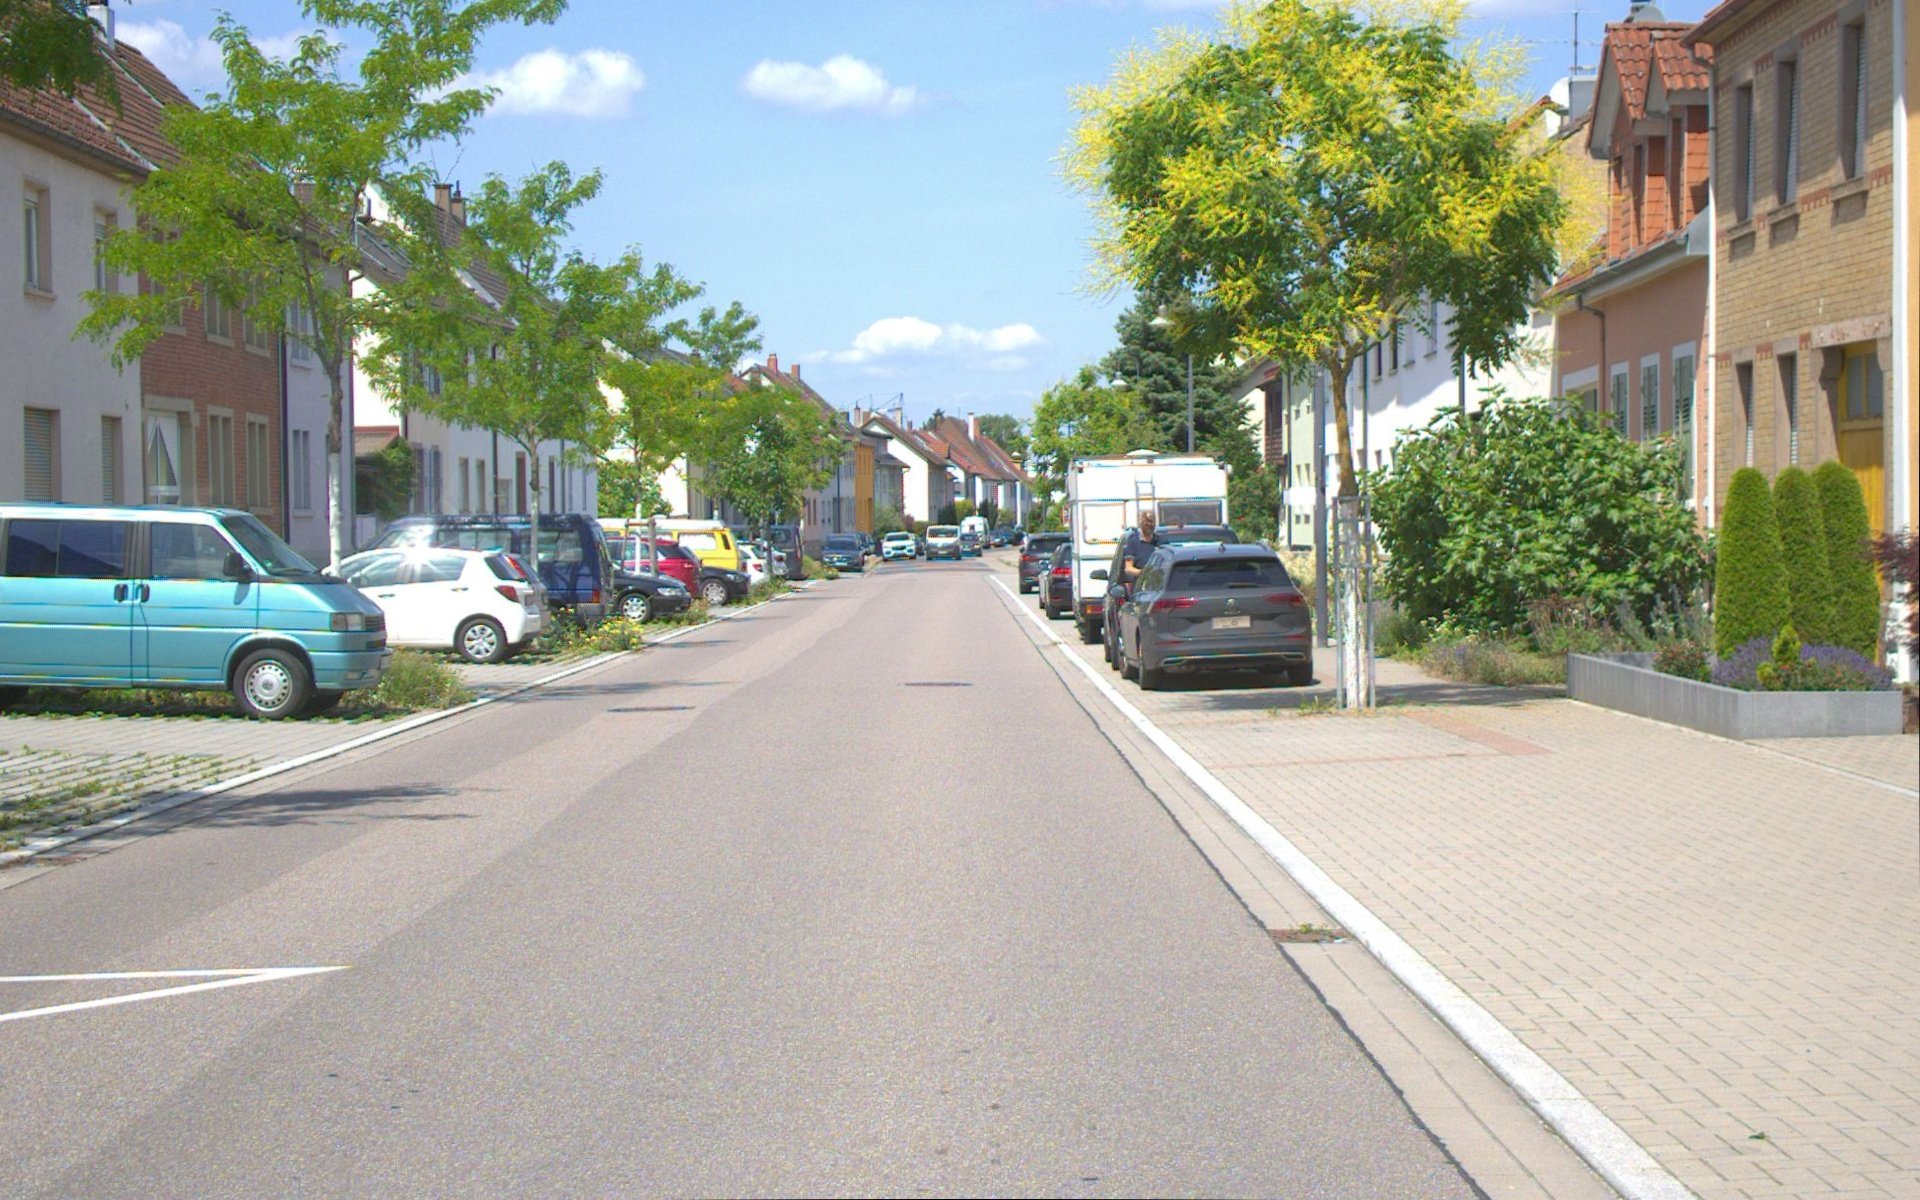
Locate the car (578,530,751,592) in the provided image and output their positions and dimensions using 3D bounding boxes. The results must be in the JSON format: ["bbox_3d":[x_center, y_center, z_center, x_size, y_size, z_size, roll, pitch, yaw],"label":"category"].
[{"bbox_3d":[-7.125,-0.946,83.030,4.010,1.454,1.755,0,1,0],"label":"car"}]

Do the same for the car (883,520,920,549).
[{"bbox_3d":[-3.405,-3.851,201.612,1.850,1.653,4.000,1,1,3],"label":"car"}]

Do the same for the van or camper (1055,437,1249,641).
[{"bbox_3d":[2.816,-0.954,51.842,2.473,2.800,5.791,-2,2,0],"label":"van or camper"}]

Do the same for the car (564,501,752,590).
[{"bbox_3d":[-7.495,-1.369,85.582,4.508,2.170,1.925,0,1,0],"label":"car"}]

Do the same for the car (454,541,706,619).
[{"bbox_3d":[-7.093,-0.379,64.499,4.524,1.420,1.796,0,1,0],"label":"car"}]

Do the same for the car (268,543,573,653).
[{"bbox_3d":[-7.464,-0.038,47.812,3.916,1.483,1.772,0,1,2],"label":"car"}]

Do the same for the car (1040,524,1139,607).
[{"bbox_3d":[2.486,-0.693,66.697,1.767,1.524,4.007,-1,1,1],"label":"car"}]

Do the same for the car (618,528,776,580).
[{"bbox_3d":[-7.484,-1.312,98.061,4.295,1.463,1.774,0,1,2],"label":"car"}]

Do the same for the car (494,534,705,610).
[{"bbox_3d":[-7.125,-0.563,68.248,4.053,1.473,1.776,0,1,-2],"label":"car"}]

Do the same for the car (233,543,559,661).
[{"bbox_3d":[-7.324,0.009,44.900,3.916,1.483,1.772,0,1,2],"label":"car"}]

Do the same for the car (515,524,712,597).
[{"bbox_3d":[-7.792,-0.901,77.609,4.253,1.606,1.843,0,1,0],"label":"car"}]

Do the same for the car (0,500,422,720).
[{"bbox_3d":[-7.351,0.073,30.982,4.677,1.900,2.000,0,1,1],"label":"car"}]

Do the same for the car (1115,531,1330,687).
[{"bbox_3d":[2.663,0.047,35.743,1.766,1.483,4.297,-1,1,-2],"label":"car"}]

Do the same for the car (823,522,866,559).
[{"bbox_3d":[-5.152,-2.662,152.724,1.816,1.428,4.140,2,3,-2],"label":"car"}]

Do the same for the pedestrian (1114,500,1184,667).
[{"bbox_3d":[2.118,-0.194,38.579,0.716,1.846,0.578,-1,1,1],"label":"pedestrian"}]

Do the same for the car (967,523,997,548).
[{"bbox_3d":[1.424,-4.146,221.269,1.762,1.517,4.049,-3,1,-1],"label":"car"}]

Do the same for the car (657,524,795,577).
[{"bbox_3d":[-7.124,-1.510,104.936,4.182,1.563,1.774,0,1,-3],"label":"car"}]

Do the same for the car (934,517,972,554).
[{"bbox_3d":[-0.421,-3.607,192.922,2.022,1.943,4.899,-2,1,-1],"label":"car"}]

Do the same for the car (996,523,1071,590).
[{"bbox_3d":[2.038,-1.205,94.132,1.864,1.630,4.446,-3,2,3],"label":"car"}]

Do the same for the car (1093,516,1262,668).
[{"bbox_3d":[2.561,-0.139,41.311,1.767,1.699,4.325,-1,1,1],"label":"car"}]

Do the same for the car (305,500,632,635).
[{"bbox_3d":[-7.399,-0.502,52.084,4.613,1.989,1.953,0,1,2],"label":"car"}]

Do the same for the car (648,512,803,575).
[{"bbox_3d":[-7.329,-1.769,107.667,4.700,1.916,1.938,0,1,0],"label":"car"}]
